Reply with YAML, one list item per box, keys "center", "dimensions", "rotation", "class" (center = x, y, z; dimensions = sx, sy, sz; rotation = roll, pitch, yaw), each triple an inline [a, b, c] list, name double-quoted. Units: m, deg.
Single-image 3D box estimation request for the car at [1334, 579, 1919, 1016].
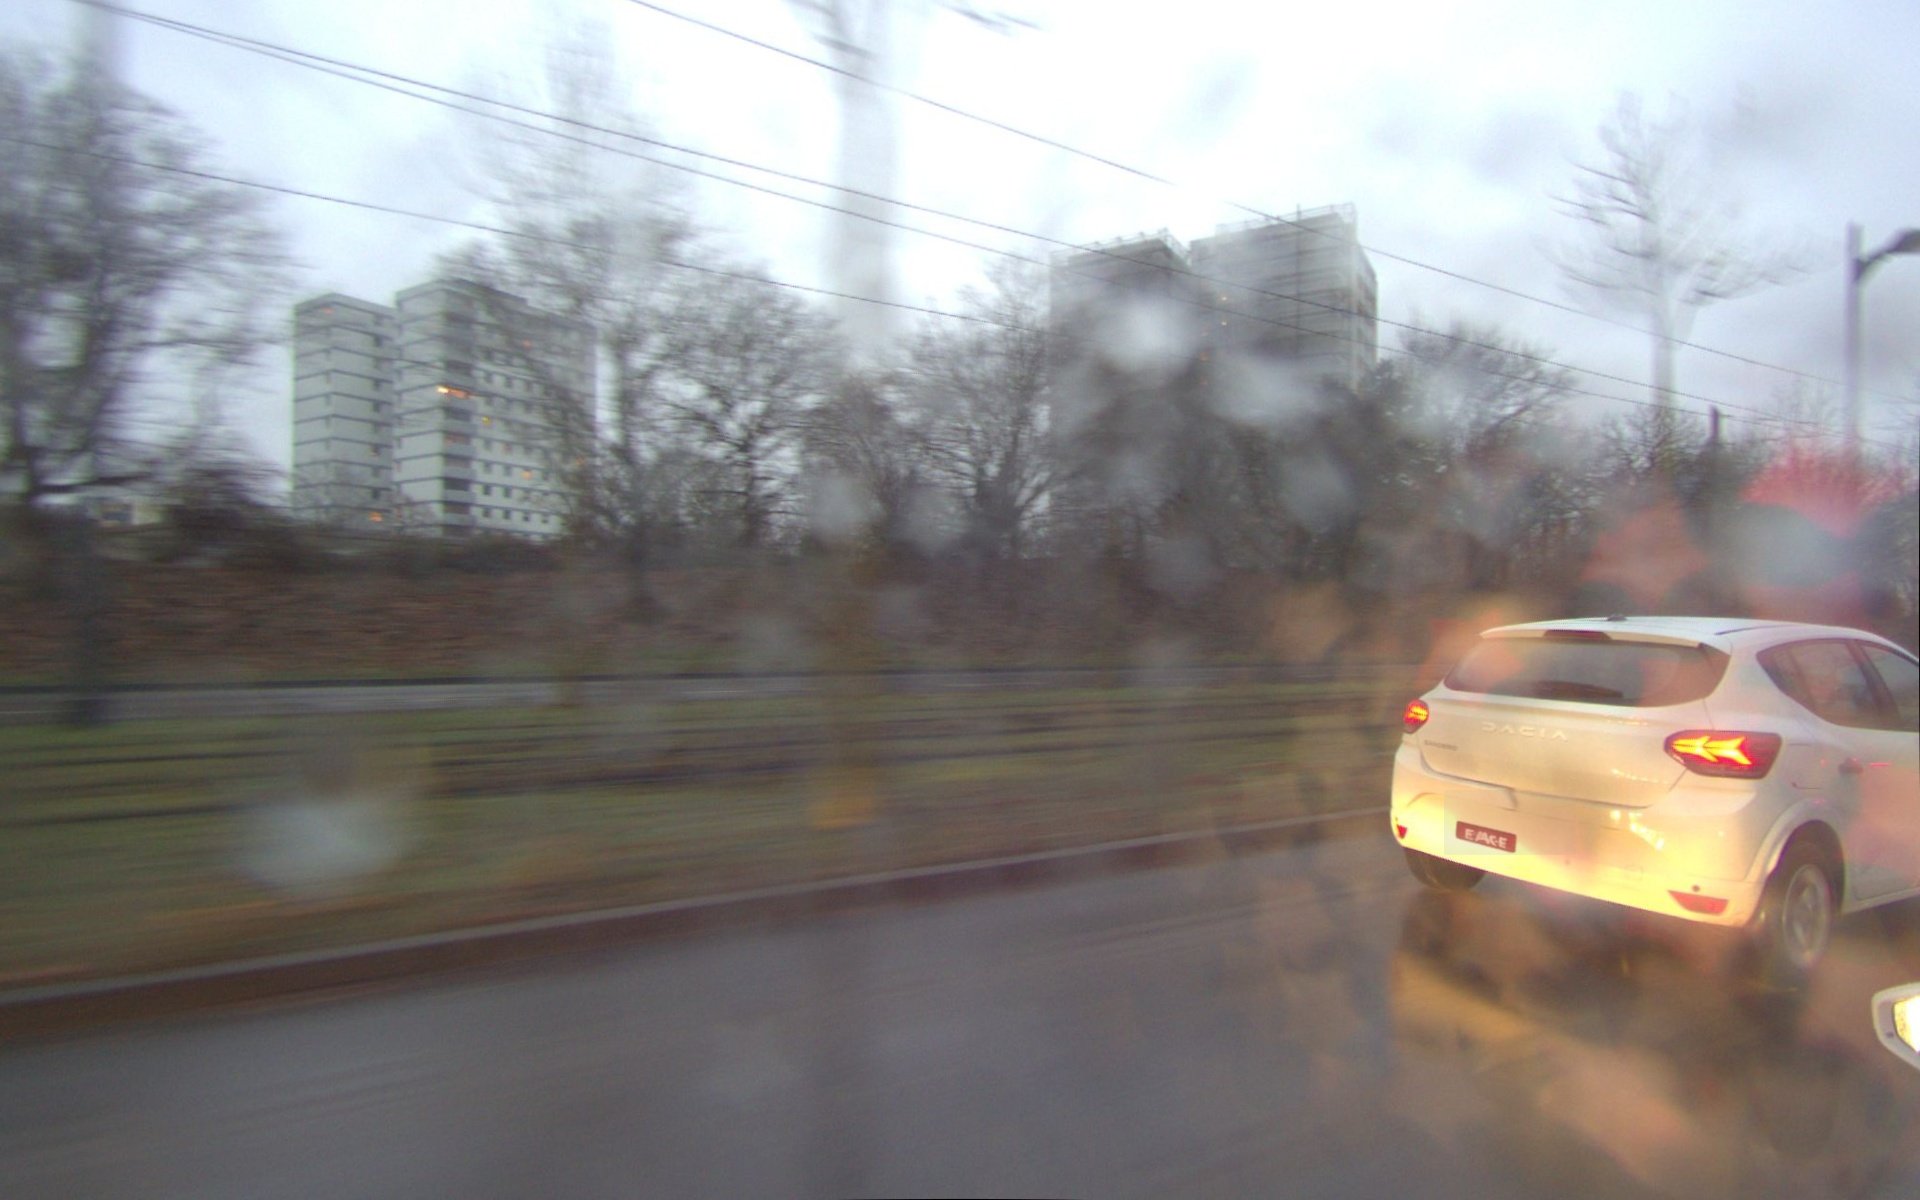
- center: [4.077, 0.750, 5.298]
  dimensions: [4.084, 1.545, 1.701]
  rotation: [1, -1, -29]
  class: "car"
